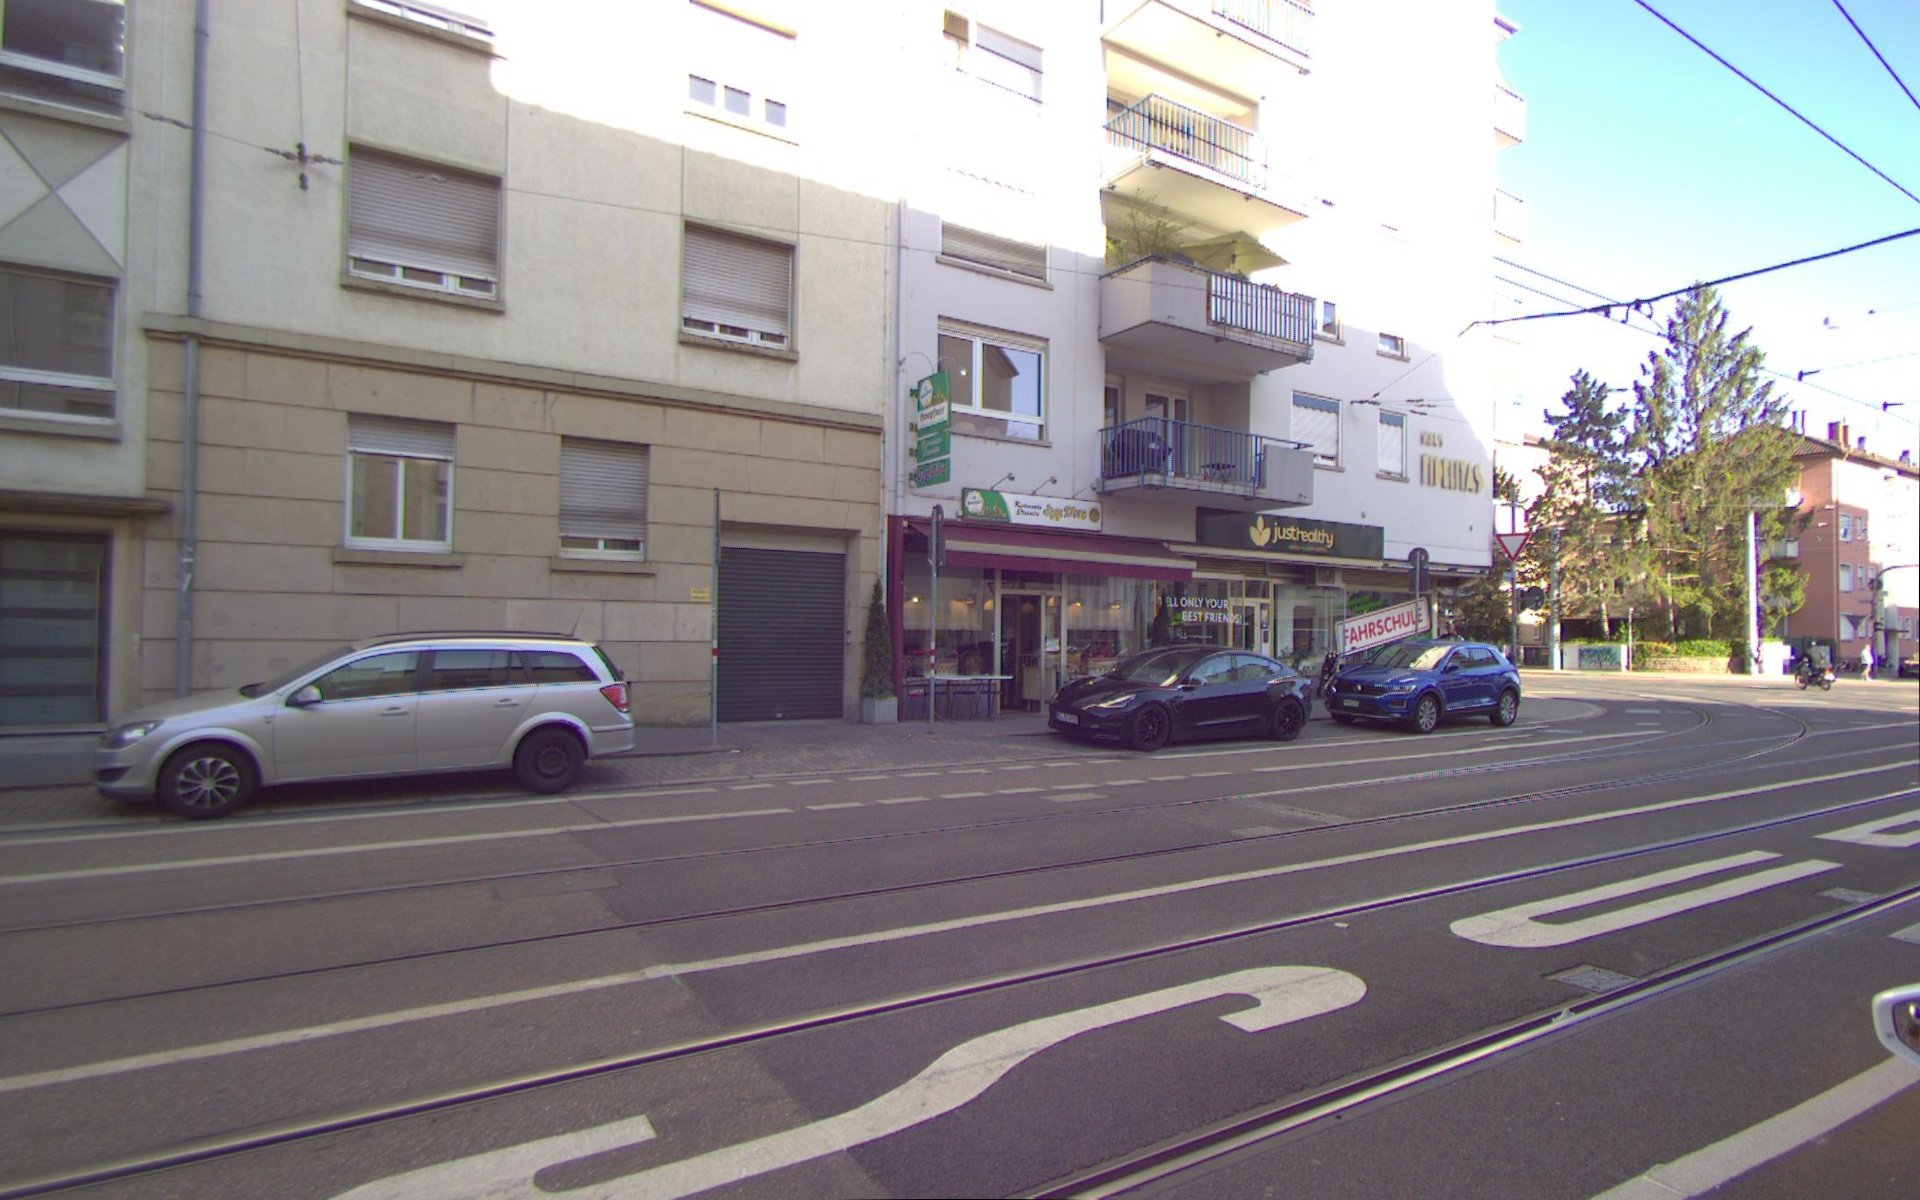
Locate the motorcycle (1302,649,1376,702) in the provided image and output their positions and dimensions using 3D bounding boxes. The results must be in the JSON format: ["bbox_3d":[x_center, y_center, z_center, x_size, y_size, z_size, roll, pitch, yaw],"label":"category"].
[{"bbox_3d":[8.711,1.727,23.058,1.777,1.149,0.603,2,0,-32],"label":"motorcycle"}]

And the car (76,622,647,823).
[{"bbox_3d":[-5.445,1.042,9.657,4.325,1.474,1.715,2,0,-33],"label":"car"}]

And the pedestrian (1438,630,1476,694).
[{"bbox_3d":[14.374,1.787,29.070,0.653,1.816,0.733,1,-1,-25],"label":"pedestrian"}]

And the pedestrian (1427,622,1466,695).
[{"bbox_3d":[13.349,1.600,27.568,0.727,1.924,0.573,4,-2,-14],"label":"pedestrian"}]

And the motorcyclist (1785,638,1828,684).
[{"bbox_3d":[28.842,2.076,34.239,0.843,1.508,0.727,2,0,-13],"label":"motorcyclist"}]

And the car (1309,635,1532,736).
[{"bbox_3d":[8.398,1.456,18.206,4.194,1.523,1.758,1,1,-34],"label":"car"}]

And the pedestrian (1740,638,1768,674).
[{"bbox_3d":[39.728,2.806,50.259,0.768,1.744,0.705,2,0,4],"label":"pedestrian"}]

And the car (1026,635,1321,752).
[{"bbox_3d":[3.314,1.352,15.319,4.396,1.494,1.759,2,-1,-32],"label":"car"}]

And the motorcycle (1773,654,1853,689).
[{"bbox_3d":[28.871,2.409,34.043,0.843,1.060,1.937,2,0,-12],"label":"motorcycle"}]

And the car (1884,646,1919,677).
[{"bbox_3d":[49.931,3.249,51.978,4.395,1.450,2.141,5,-2,-33],"label":"car"}]

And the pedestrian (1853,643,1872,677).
[{"bbox_3d":[43.001,2.871,47.872,0.567,1.589,0.513,2,0,-31],"label":"pedestrian"}]
